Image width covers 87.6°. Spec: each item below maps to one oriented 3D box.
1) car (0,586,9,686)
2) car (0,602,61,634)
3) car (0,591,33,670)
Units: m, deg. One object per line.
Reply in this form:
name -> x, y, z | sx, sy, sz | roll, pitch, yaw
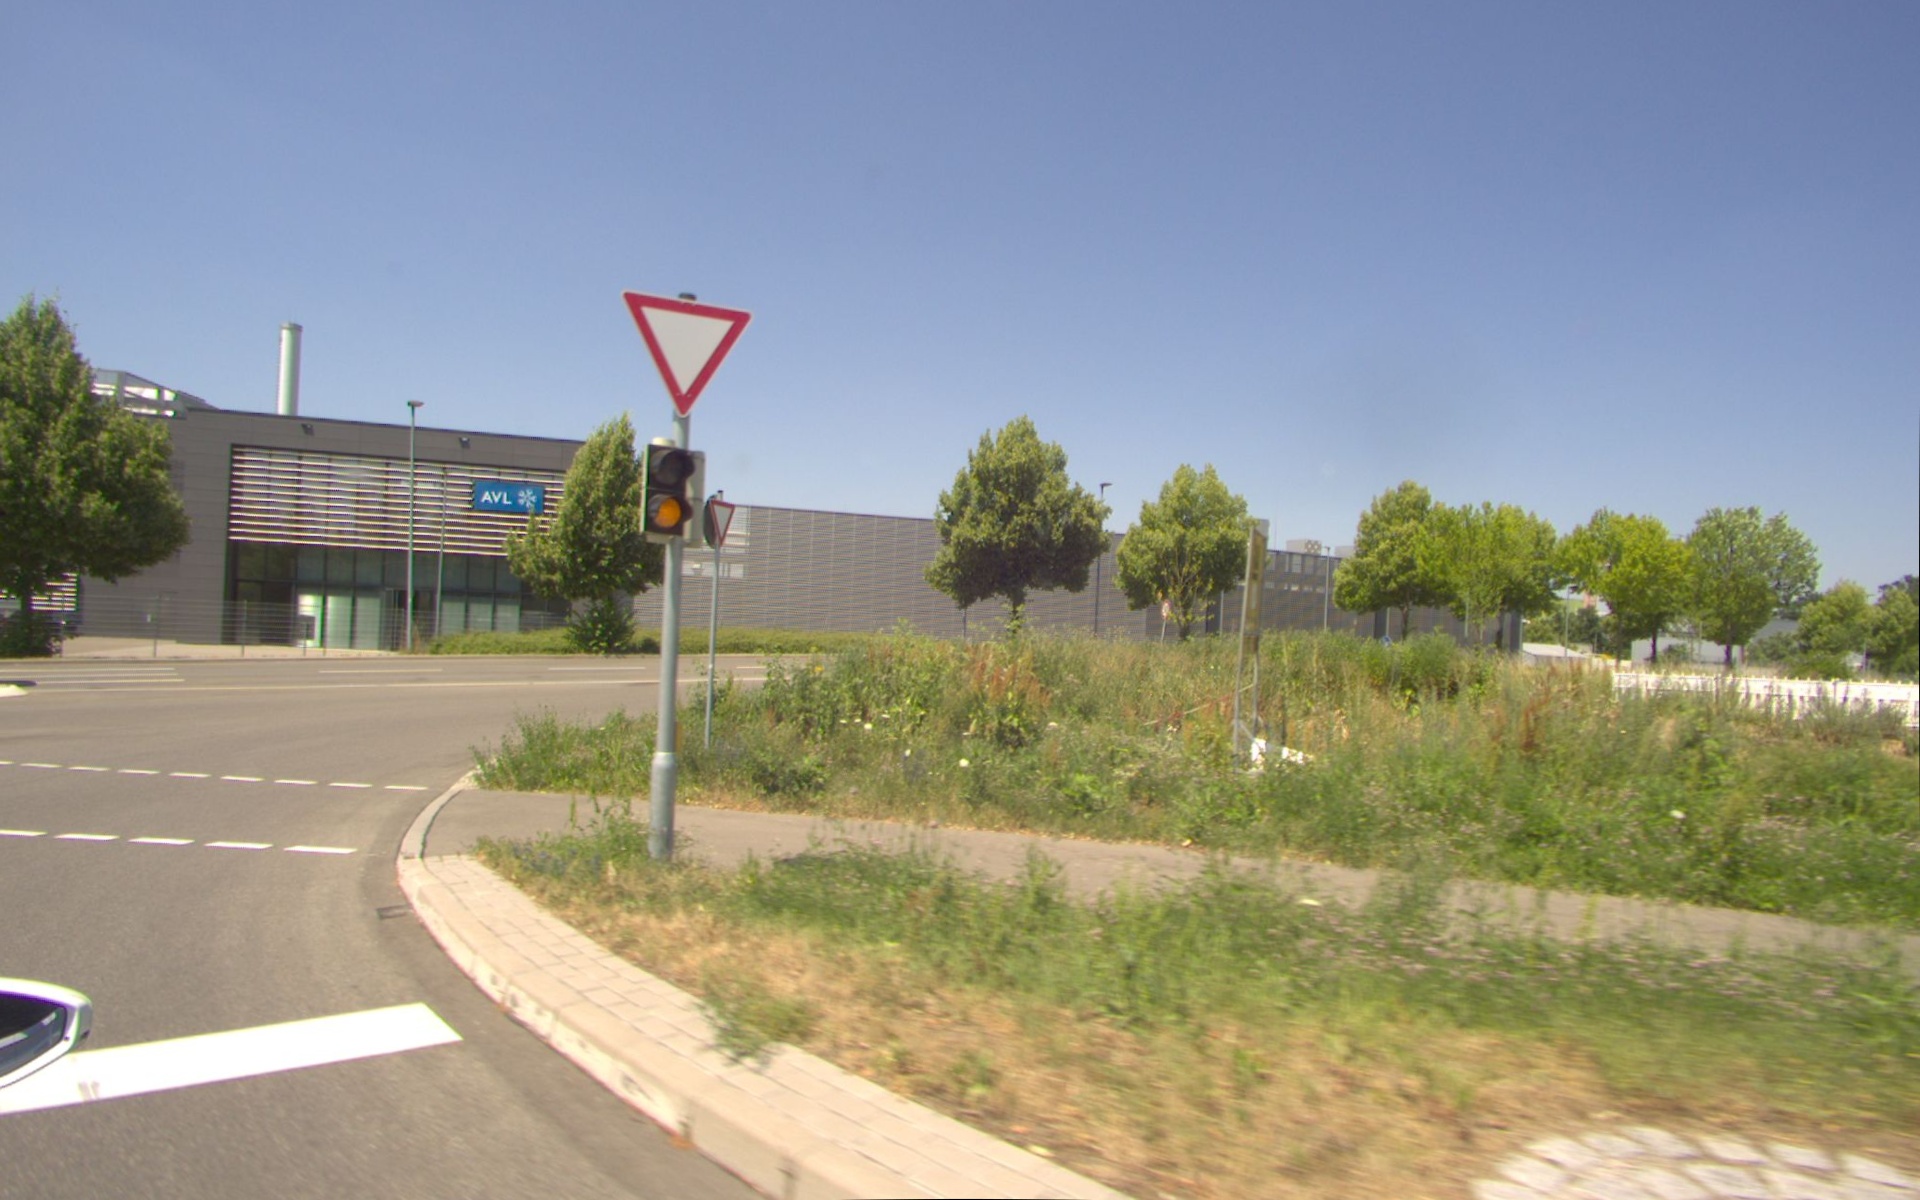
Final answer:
car -> -22.252, 0.605, 19.824 | 1.977, 1.968, 4.831 | 6, 1, 44
car -> -46.520, 0.918, 49.216 | 1.965, 1.505, 3.994 | 0, -2, -17
car -> -24.222, 0.633, 23.241 | 1.977, 1.729, 3.833 | 6, 1, 44
